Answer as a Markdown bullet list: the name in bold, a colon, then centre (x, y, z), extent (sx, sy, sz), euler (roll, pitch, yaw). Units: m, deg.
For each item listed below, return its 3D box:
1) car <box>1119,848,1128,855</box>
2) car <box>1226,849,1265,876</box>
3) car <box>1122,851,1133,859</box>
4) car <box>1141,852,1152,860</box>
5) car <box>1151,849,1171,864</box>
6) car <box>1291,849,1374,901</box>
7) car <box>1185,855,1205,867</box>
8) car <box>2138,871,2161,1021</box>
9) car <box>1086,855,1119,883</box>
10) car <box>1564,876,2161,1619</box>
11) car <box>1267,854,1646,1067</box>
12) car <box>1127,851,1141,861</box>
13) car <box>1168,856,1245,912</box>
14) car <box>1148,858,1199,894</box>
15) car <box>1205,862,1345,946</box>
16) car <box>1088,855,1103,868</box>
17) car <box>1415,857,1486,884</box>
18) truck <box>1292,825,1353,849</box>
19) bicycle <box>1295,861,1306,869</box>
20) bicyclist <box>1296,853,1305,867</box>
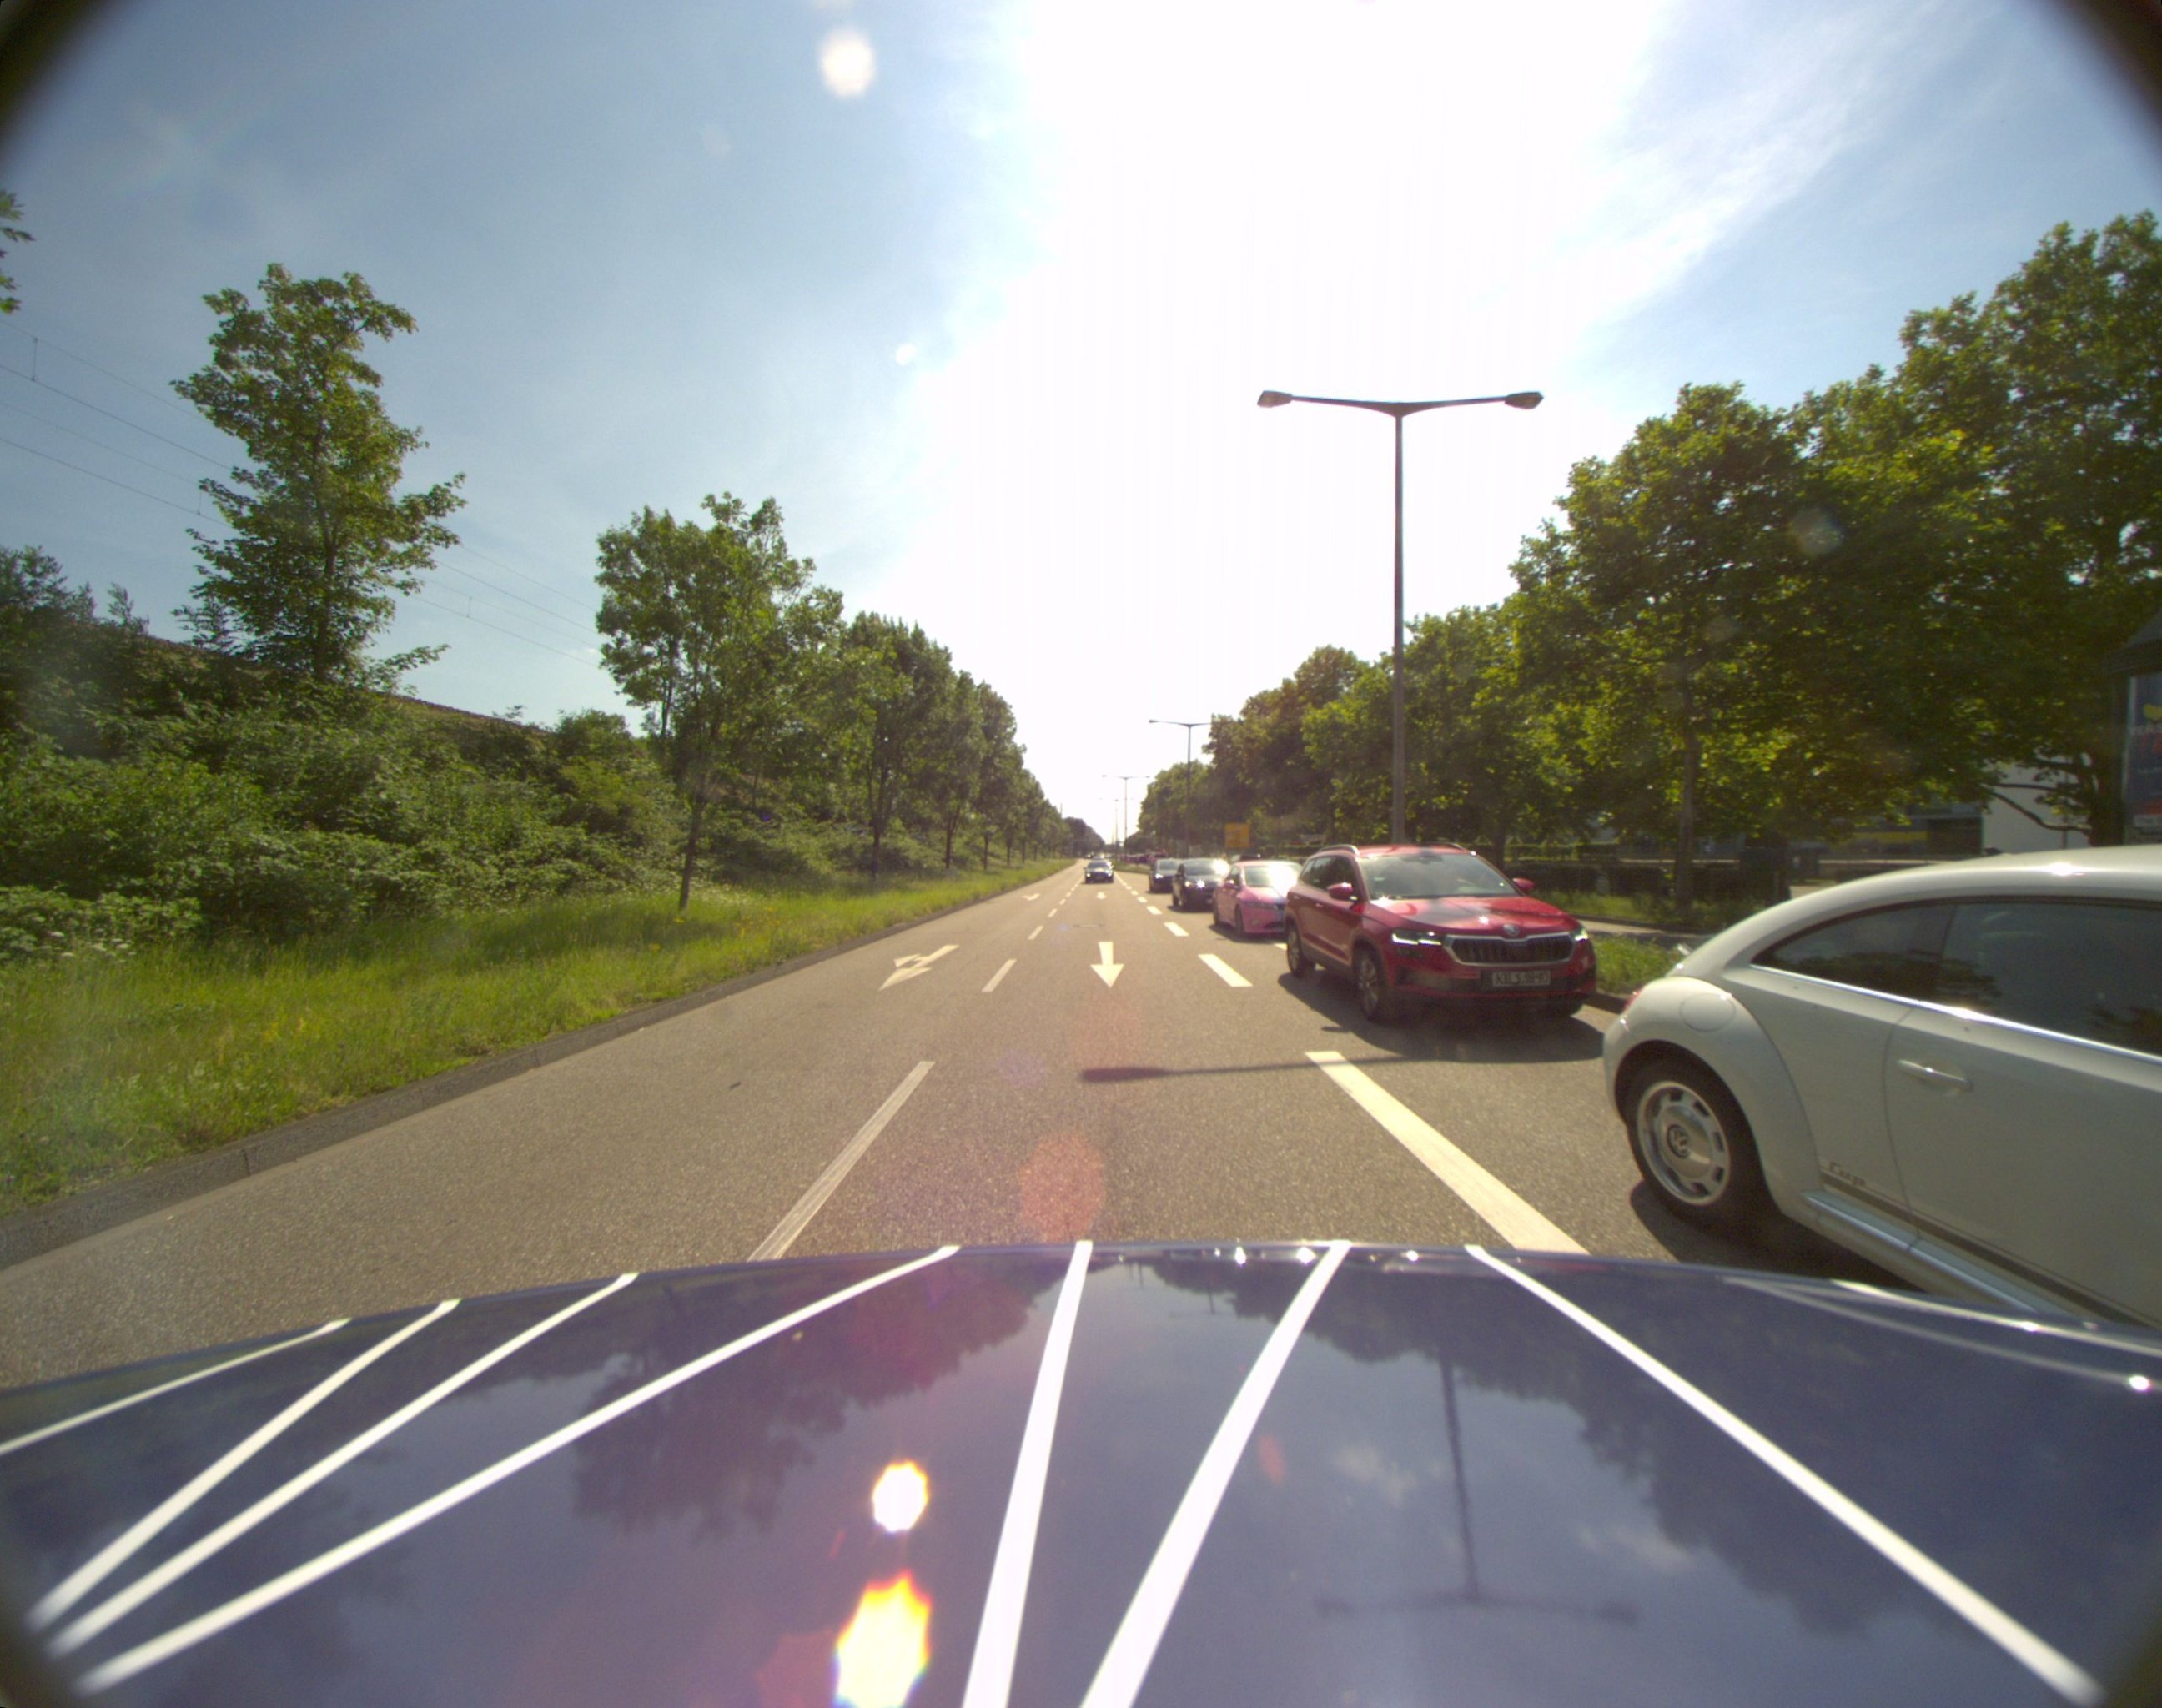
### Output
- **car**: centre (8.659, -0.526, 155.475), extent (1.777, 1.459, 4.671), euler (1, 0, 1)
- **car**: centre (12.692, 0.629, 59.086), extent (1.998, 2.002, 5.213), euler (0, 0, 1)
- **car**: centre (8.808, 0.245, 144.358), extent (1.844, 1.470, 4.166), euler (0, 0, 1)
- **car**: centre (12.186, 0.401, 140.677), extent (1.767, 1.454, 4.000), euler (1, 0, 1)
- **car**: centre (10.887, 0.343, 103.209), extent (2.122, 1.872, 5.419), euler (1, 0, 0)
- **car**: centre (9.103, 0.709, 27.857), extent (1.867, 1.740, 4.401), euler (0, 0, 4)
- **car**: centre (13.697, 0.806, 91.376), extent (1.791, 1.390, 4.358), euler (1, 1, 1)
- **car**: centre (11.445, 0.918, 5.593), extent (1.780, 1.462, 4.000), euler (1, 0, 2)
- **car**: centre (1.312, 0.892, 48.547), extent (1.998, 1.699, 4.431), euler (0, 0, 1)
- **car**: centre (3.150, 0.859, 1.505), extent (1.770, 1.470, 4.136), euler (-2, 0, 1)
- **car**: centre (3.416, 0.818, 8.078), extent (1.787, 1.583, 4.593), euler (-1, 0, 1)
- **car**: centre (8.438, 0.304, 120.257), extent (1.773, 1.460, 4.282), euler (0, 0, -2)
- **car**: centre (3.664, 0.834, 22.722), extent (1.630, 1.474, 4.048), euler (-2, 0, 1)
- **car**: centre (4.064, 0.945, 33.949), extent (1.826, 1.498, 4.216), euler (0, 0, 1)
- **car**: centre (3.740, 0.889, 15.427), extent (1.706, 1.382, 4.472), euler (-2, 0, 1)
- **car**: centre (1.948, 0.970, 103.384), extent (1.855, 1.752, 4.313), euler (0, 0, -1)
- **car**: centre (26.268, 1.180, 54.117), extent (3.995, 1.812, 2.157), euler (-1, 1, 5)
- **truck**: centre (35.755, -2.446, 112.911), extent (2.678, 3.376, 8.965), euler (-1, 0, -35)
- **bicycle**: centre (22.676, 1.138, 78.481), extent (0.691, 0.861, 1.926), euler (0, 0, 1)
- **bicyclist**: centre (22.679, 0.601, 78.524), extent (0.683, 1.476, 0.942), euler (0, 1, 1)
